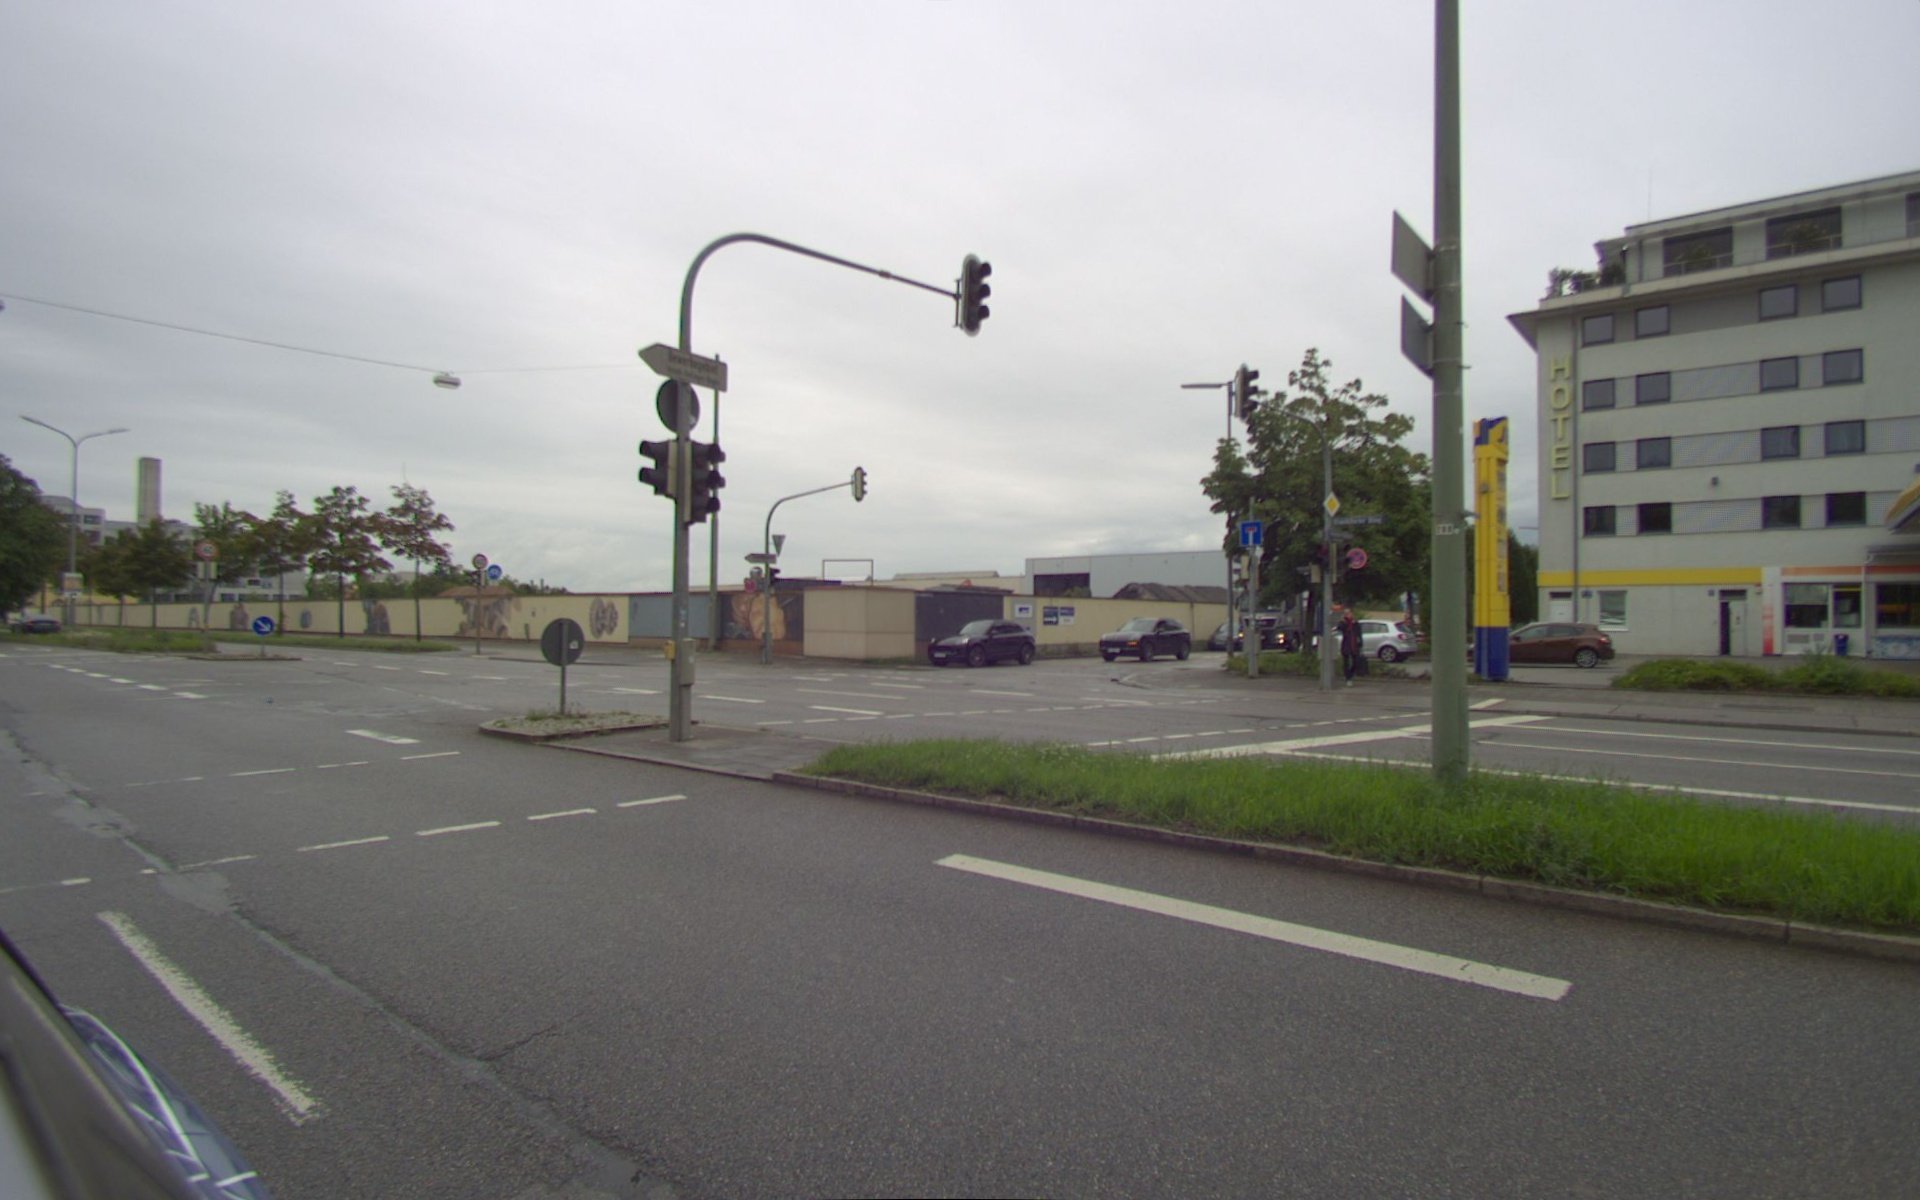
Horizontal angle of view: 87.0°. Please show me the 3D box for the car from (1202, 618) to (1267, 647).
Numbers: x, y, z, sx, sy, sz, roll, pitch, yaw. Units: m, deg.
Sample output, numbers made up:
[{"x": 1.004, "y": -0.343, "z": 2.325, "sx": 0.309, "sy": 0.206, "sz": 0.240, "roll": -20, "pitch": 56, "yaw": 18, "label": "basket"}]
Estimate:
[{"x": 14.789, "y": 1.747, "z": 54.406, "sx": 1.764, "sy": 1.487, "sz": 3.944, "roll": -1, "pitch": -2, "yaw": 42, "label": "car"}]

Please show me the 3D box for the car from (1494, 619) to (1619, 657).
[{"x": 24.274, "y": 1.545, "z": 41.266, "sx": 4.188, "sy": 1.489, "sz": 1.884, "roll": -1, "pitch": -3, "yaw": 39, "label": "car"}]

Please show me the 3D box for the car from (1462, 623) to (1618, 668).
[{"x": 18.975, "y": 1.478, "z": 33.300, "sx": 4.345, "sy": 1.394, "sz": 1.687, "roll": 0, "pitch": -3, "yaw": 30, "label": "car"}]

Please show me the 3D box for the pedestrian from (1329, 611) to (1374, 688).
[{"x": 8.644, "y": 1.079, "z": 22.336, "sx": 0.687, "sy": 1.627, "sz": 0.794, "roll": -1, "pitch": 0, "yaw": 38, "label": "pedestrian"}]

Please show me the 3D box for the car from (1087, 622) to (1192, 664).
[{"x": 7.119, "y": 1.651, "z": 39.810, "sx": 1.999, "sy": 1.544, "sz": 4.568, "roll": -1, "pitch": -2, "yaw": 42, "label": "car"}]

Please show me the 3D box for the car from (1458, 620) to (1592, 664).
[{"x": 20.282, "y": 1.514, "z": 36.392, "sx": 3.976, "sy": 1.497, "sz": 1.606, "roll": -1, "pitch": -3, "yaw": 41, "label": "car"}]

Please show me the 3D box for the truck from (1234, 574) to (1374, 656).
[{"x": 18.320, "y": 0.825, "z": 53.179, "sx": 2.609, "sy": 3.885, "sz": 11.771, "roll": -1, "pitch": -2, "yaw": 42, "label": "truck"}]

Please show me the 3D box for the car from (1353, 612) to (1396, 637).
[{"x": 30.755, "y": 1.814, "z": 75.055, "sx": 1.872, "sy": 1.719, "sz": 4.048, "roll": -1, "pitch": -3, "yaw": 40, "label": "car"}]

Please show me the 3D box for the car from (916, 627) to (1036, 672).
[{"x": 0.615, "y": 1.694, "z": 35.568, "sx": 1.999, "sy": 1.439, "sz": 4.205, "roll": -1, "pitch": -2, "yaw": 42, "label": "car"}]

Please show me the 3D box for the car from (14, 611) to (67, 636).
[{"x": -59.539, "y": 1.504, "z": 65.482, "sx": 4.435, "sy": 1.519, "sz": 1.892, "roll": -1, "pitch": -3, "yaw": 40, "label": "car"}]

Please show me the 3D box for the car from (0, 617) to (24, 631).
[{"x": -105.473, "y": 2.714, "z": 112.120, "sx": 4.496, "sy": 1.479, "sz": 1.860, "roll": -1, "pitch": -3, "yaw": 38, "label": "car"}]

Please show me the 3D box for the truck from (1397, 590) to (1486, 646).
[{"x": 36.255, "y": 1.382, "z": 75.893, "sx": 2.878, "sy": 3.861, "sz": 11.771, "roll": -1, "pitch": -2, "yaw": 42, "label": "truck"}]

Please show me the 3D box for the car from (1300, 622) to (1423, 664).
[{"x": 14.843, "y": 1.584, "z": 37.544, "sx": 3.972, "sy": 1.497, "sz": 1.608, "roll": -1, "pitch": -3, "yaw": 38, "label": "car"}]
